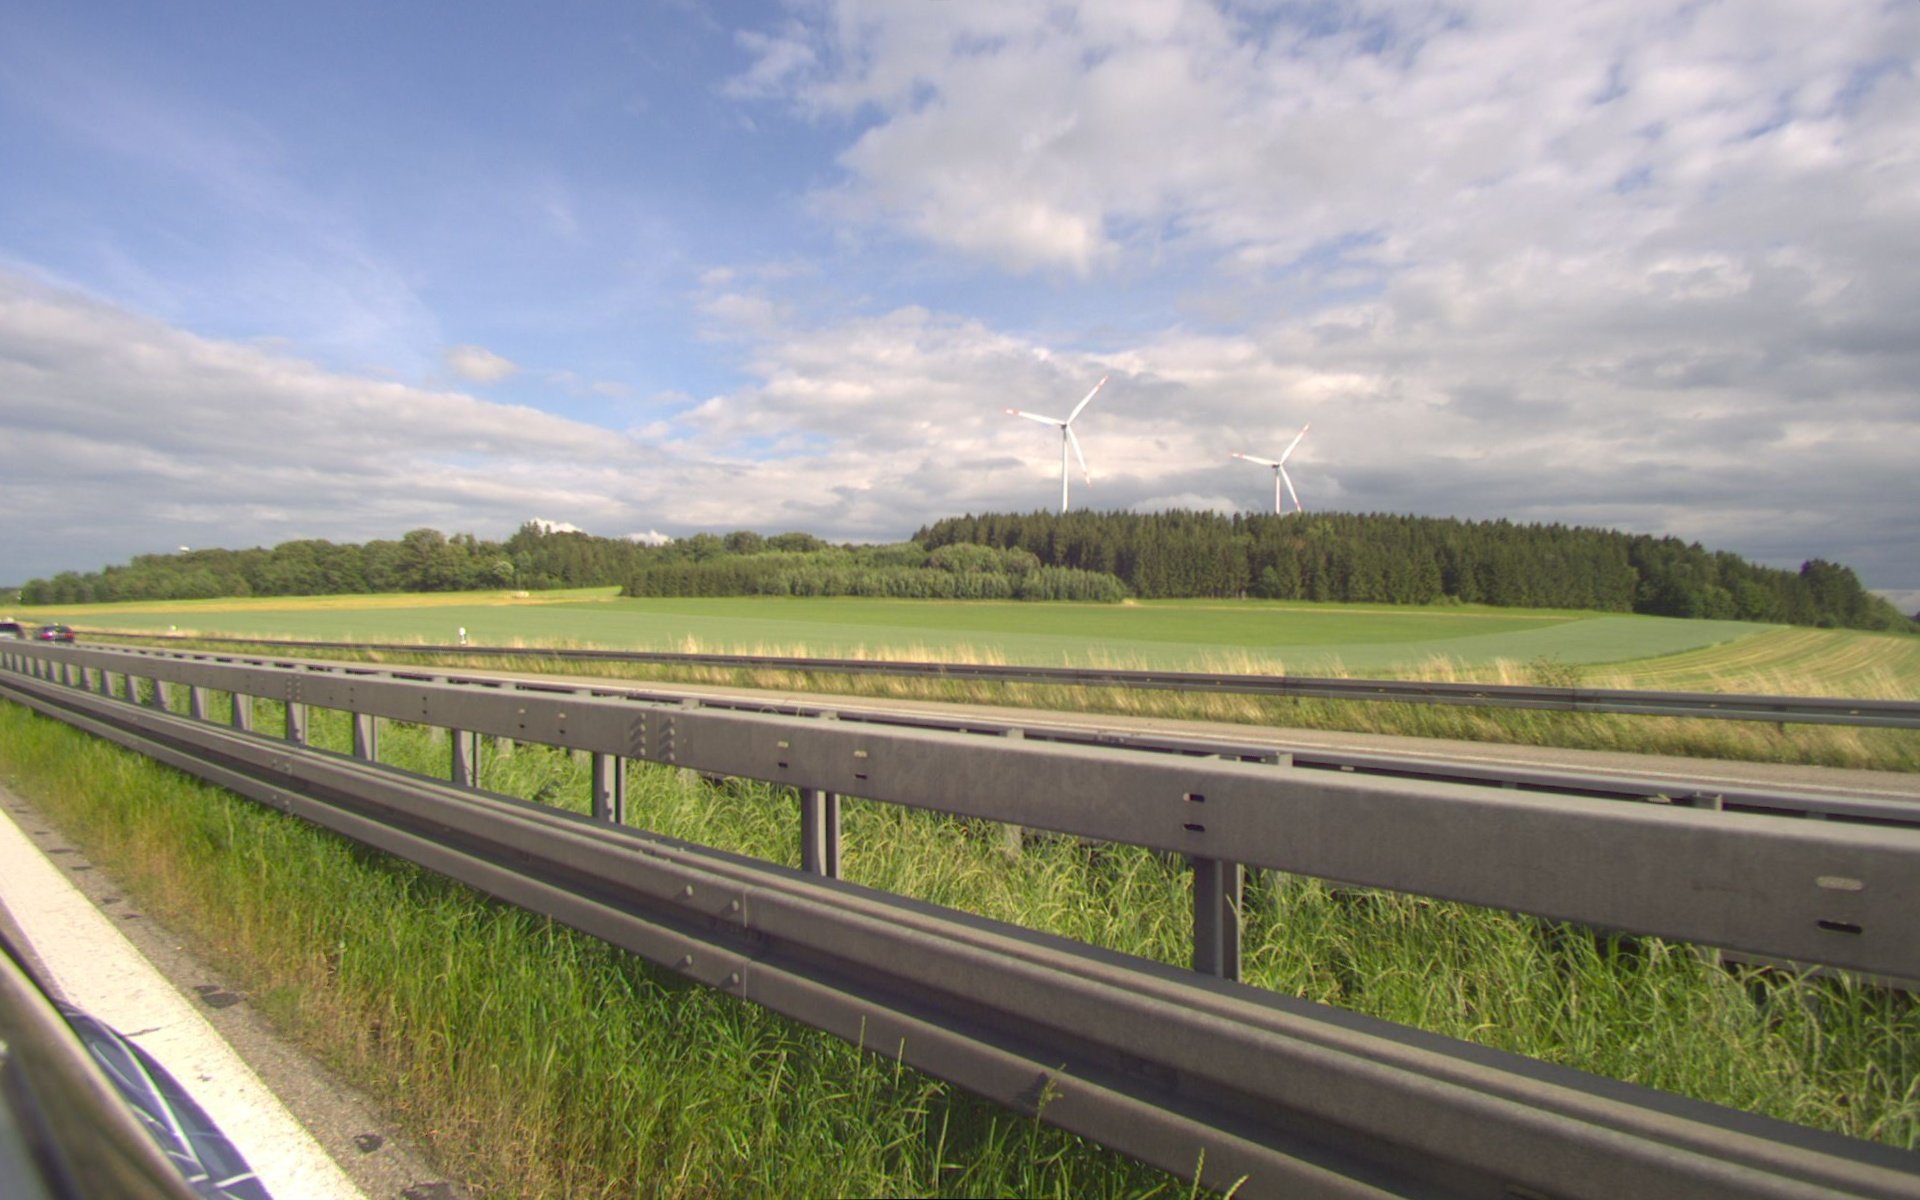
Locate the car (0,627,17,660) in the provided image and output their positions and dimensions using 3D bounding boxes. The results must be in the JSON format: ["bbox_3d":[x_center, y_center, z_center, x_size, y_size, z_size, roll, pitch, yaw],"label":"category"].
[{"bbox_3d":[-50.724,2.270,52.843,4.263,1.615,1.732,-1,0,41],"label":"car"}]

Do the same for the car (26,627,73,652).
[{"bbox_3d":[-58.590,2.505,65.110,4.477,1.490,1.732,-1,0,41],"label":"car"}]
